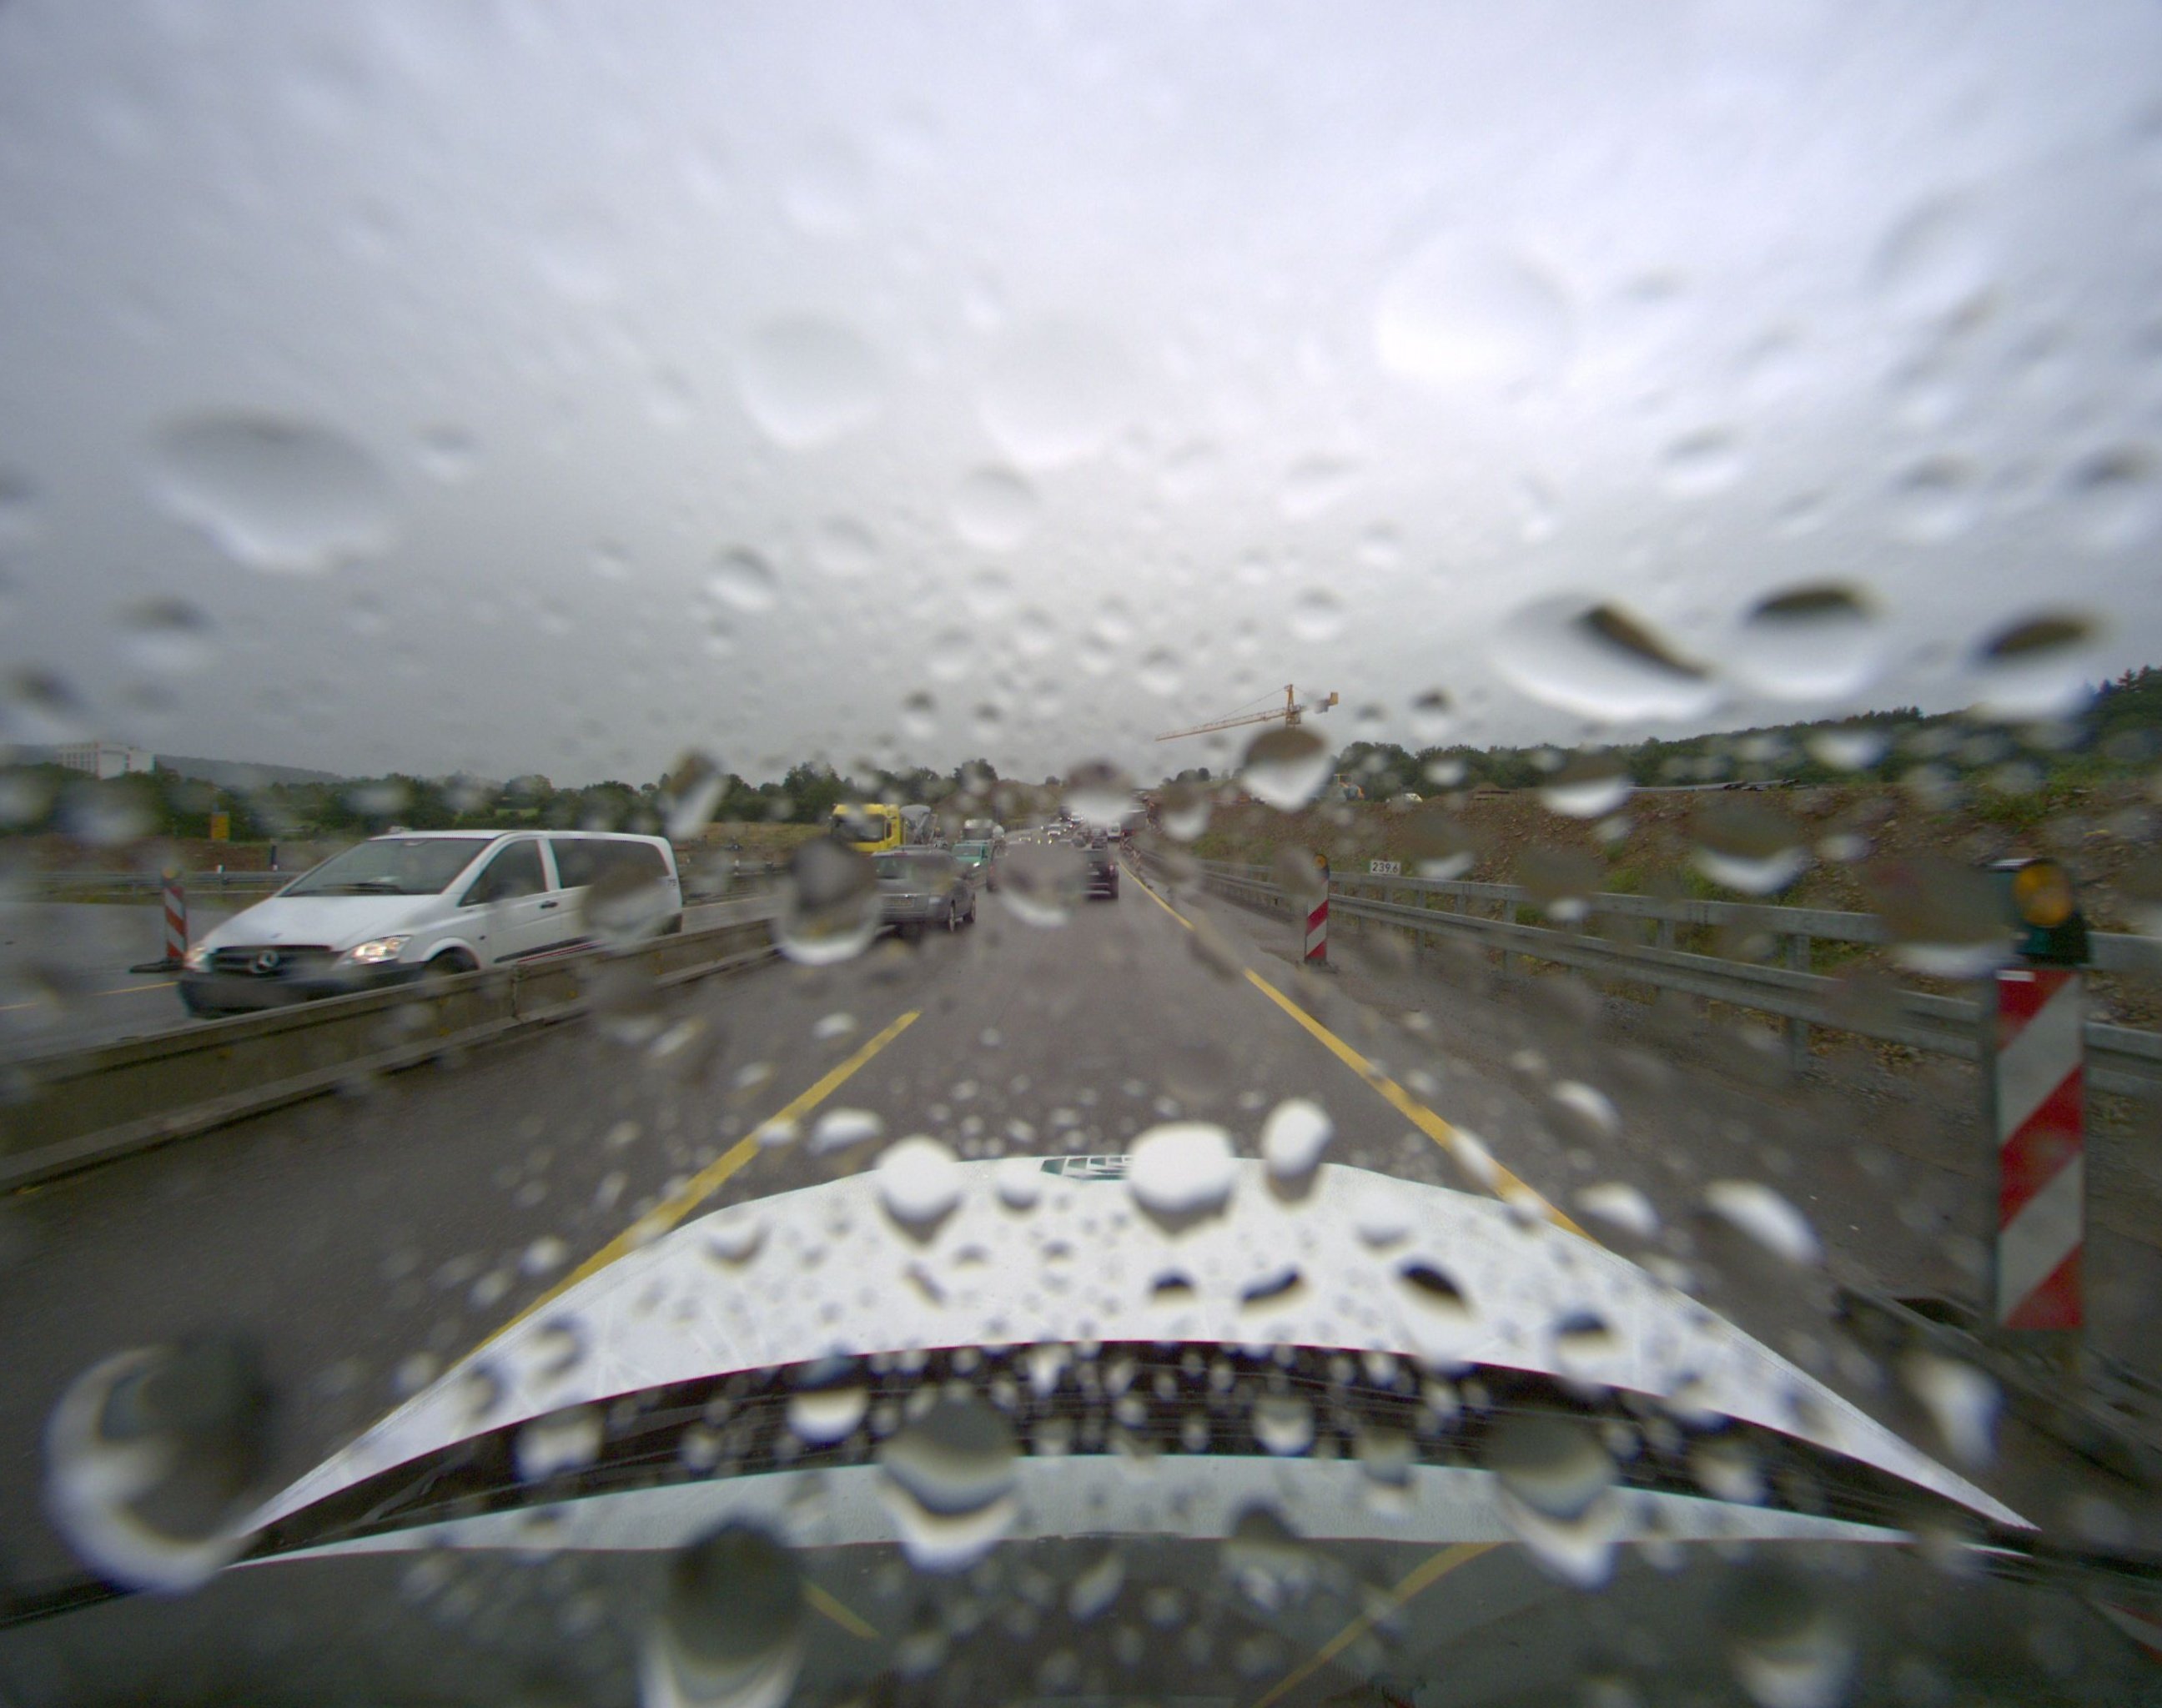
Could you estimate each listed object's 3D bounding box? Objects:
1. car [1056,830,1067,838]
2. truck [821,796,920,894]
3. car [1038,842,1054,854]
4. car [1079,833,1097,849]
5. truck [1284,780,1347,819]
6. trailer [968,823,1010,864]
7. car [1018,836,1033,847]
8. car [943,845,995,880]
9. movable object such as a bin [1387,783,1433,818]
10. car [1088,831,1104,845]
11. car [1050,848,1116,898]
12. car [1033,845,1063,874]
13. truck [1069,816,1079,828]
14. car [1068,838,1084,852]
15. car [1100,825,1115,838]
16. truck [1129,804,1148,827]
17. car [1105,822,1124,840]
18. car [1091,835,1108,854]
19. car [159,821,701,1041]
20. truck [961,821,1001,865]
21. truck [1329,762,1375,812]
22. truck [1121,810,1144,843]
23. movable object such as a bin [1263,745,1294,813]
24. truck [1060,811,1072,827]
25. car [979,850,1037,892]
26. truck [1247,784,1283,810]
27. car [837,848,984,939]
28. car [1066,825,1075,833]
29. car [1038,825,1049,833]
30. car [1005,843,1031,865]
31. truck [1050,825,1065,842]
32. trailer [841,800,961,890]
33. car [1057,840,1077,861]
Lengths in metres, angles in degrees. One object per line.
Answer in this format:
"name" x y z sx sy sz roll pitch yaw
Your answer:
"car" -3.622 -3.649 148.374 1.780 1.538 4.313 -1 1 1
"truck" -9.427 -0.404 37.120 2.739 4.062 6.149 0 0 1
"car" -4.630 -0.782 108.036 1.766 1.504 4.680 -1 1 1
"car" 1.041 -1.860 117.732 1.982 2.162 4.151 0 0 9
"truck" 20.548 -4.696 71.903 3.381 2.875 8.966 0 0 3
"trailer" -8.680 -0.995 78.310 2.611 3.677 12.004 0 0 1
"car" -7.881 -1.838 116.088 1.782 1.546 4.001 0 1 1
"car" -5.881 0.393 43.199 1.986 1.759 4.689 0 1 1
"movable object such as a bin" 36.793 -5.932 91.264 2.335 3.599 6.556 0 0 -2
"car" 2.412 -2.603 131.251 1.983 2.162 4.149 0 0 7
"car" 0.134 0.594 28.031 2.073 1.600 4.142 0 0 2
"car" -2.320 0.348 58.408 1.987 2.013 3.893 0 0 0
"truck" -1.495 -7.371 186.040 2.140 2.713 6.017 0 2 0
"car" -0.626 -1.123 106.315 1.986 1.761 3.817 0 0 2
"car" 4.569 -3.839 141.138 1.981 2.162 4.152 0 0 10
"truck" 14.000 -9.278 198.852 3.791 5.042 12.922 0 0 1
"car" 5.014 -3.330 120.263 1.980 2.484 4.999 0 0 12
"car" 2.250 -1.117 96.594 1.986 2.162 4.143 0 0 2
"car" -6.640 0.626 9.422 1.868 1.792 5.360 -1 0 1
"truck" -8.731 -0.952 71.702 2.611 3.677 6.595 0 0 0
"truck" 25.299 -6.167 76.263 2.365 4.218 5.980 0 0 1
"truck" 8.832 -4.607 138.719 3.083 5.425 9.467 0 0 9
"movable object such as a bin" 34.315 -12.814 141.184 4.683 10.841 10.346 0 0 15
"truck" -3.704 -8.640 201.830 2.633 3.969 9.215 0 3 0
"car" -2.914 0.628 33.408 1.987 1.600 4.140 0 0 0
"truck" 21.255 -6.573 94.424 2.636 2.554 6.985 0 0 1
"car" -3.300 0.695 16.662 1.986 1.600 4.142 0 0 2
"car" -2.080 -4.948 163.552 1.671 1.523 4.346 -1 2 1
"car" -6.983 -4.700 153.642 1.780 1.538 4.313 -1 1 1
"car" -5.331 -0.026 69.375 1.859 1.800 4.163 0 0 1
"truck" -3.660 -3.157 129.249 2.071 2.576 5.962 0 0 1
"trailer" -9.241 -0.445 44.320 2.739 4.042 15.363 0 0 1
"car" -1.460 -0.346 85.397 1.988 2.162 4.137 0 0 -2
